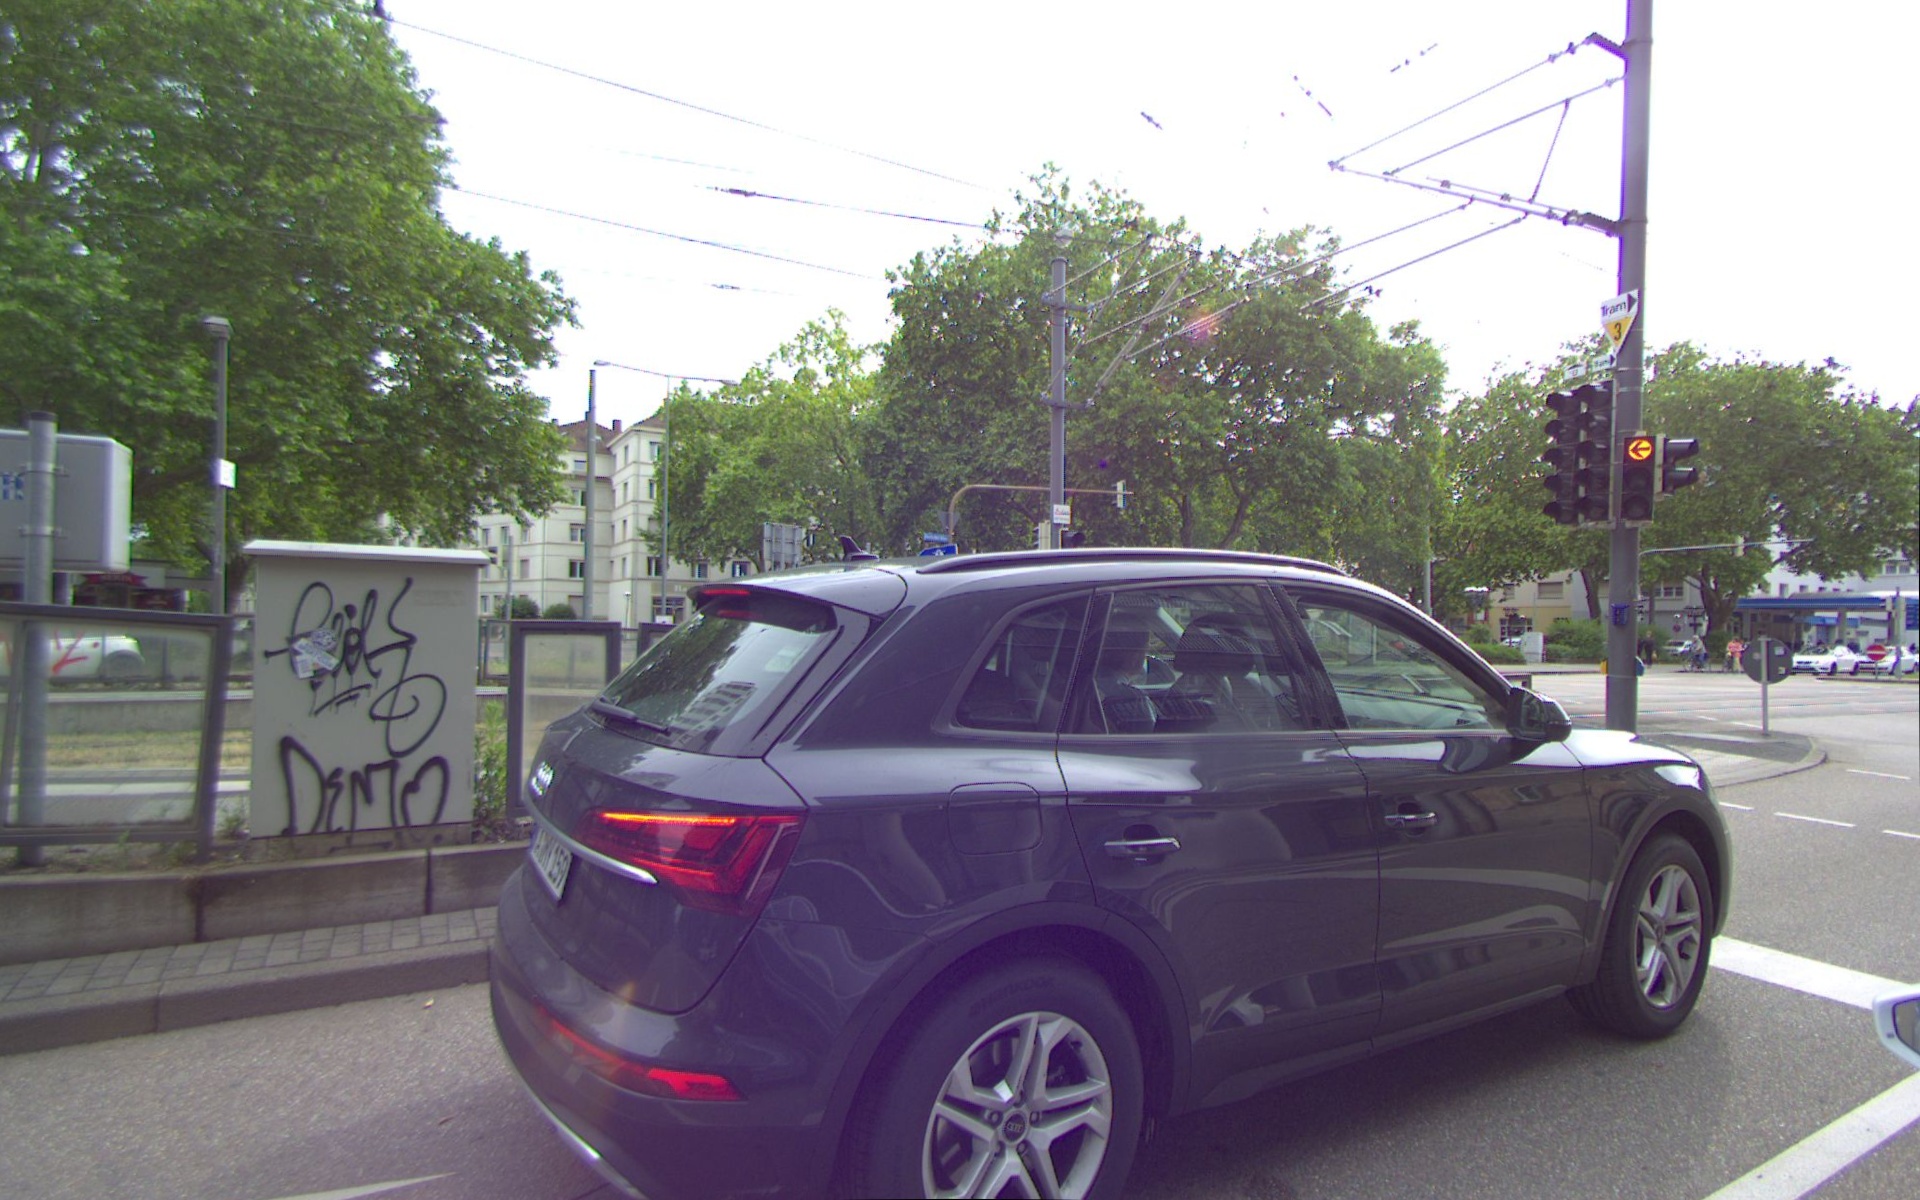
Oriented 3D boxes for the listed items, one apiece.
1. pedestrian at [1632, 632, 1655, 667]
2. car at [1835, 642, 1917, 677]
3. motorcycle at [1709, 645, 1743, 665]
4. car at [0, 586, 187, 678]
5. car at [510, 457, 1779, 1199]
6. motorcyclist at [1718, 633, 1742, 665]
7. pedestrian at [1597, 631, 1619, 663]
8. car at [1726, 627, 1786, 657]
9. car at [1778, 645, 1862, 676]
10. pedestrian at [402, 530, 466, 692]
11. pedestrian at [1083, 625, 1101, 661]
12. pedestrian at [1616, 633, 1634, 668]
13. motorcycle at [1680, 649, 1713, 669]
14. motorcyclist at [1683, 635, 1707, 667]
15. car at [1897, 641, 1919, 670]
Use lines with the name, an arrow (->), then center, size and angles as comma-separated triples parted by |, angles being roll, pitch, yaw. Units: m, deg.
pedestrian -> 34.876, 2.513, 51.249 | 0.862, 1.735, 0.870 | 0, -1, 40
car -> 46.986, 3.021, 51.521 | 3.953, 1.615, 1.984 | 2, 0, -30
motorcycle -> 36.937, 2.666, 48.433 | 1.928, 0.941, 0.604 | 2, -1, -30
car -> -17.058, 0.543, 18.565 | 1.896, 1.572, 4.000 | 2, 0, 19
car -> 0.831, 0.645, 3.461 | 4.177, 1.658, 1.725 | 2, 0, -30
motorcyclist -> 37.243, 2.365, 48.572 | 0.863, 1.540, 0.617 | 2, -1, -30
pedestrian -> 35.728, 2.580, 55.399 | 0.732, 1.713, 0.681 | 2, 0, -25
car -> 55.147, 2.897, 69.554 | 3.953, 2.040, 1.984 | 2, -1, -30
car -> 41.368, 2.907, 48.326 | 4.025, 1.338, 1.739 | 2, 0, -29
pedestrian -> -6.684, 0.136, 12.755 | 0.658, 1.976, 0.732 | 2, 0, -30
pedestrian -> 5.800, 1.878, 44.073 | 0.644, 1.530, 0.683 | 1, -1, -3
pedestrian -> 34.222, 2.593, 51.693 | 0.680, 1.735, 0.866 | 0, -1, 39
motorcycle -> 35.952, 2.860, 49.028 | 1.928, 0.941, 0.604 | 2, -1, -30
motorcyclist -> 35.812, 2.481, 48.946 | 0.863, 1.540, 0.617 | 2, -1, -30
car -> 52.790, 3.033, 54.603 | 3.593, 1.497, 1.649 | 2, 0, -29
